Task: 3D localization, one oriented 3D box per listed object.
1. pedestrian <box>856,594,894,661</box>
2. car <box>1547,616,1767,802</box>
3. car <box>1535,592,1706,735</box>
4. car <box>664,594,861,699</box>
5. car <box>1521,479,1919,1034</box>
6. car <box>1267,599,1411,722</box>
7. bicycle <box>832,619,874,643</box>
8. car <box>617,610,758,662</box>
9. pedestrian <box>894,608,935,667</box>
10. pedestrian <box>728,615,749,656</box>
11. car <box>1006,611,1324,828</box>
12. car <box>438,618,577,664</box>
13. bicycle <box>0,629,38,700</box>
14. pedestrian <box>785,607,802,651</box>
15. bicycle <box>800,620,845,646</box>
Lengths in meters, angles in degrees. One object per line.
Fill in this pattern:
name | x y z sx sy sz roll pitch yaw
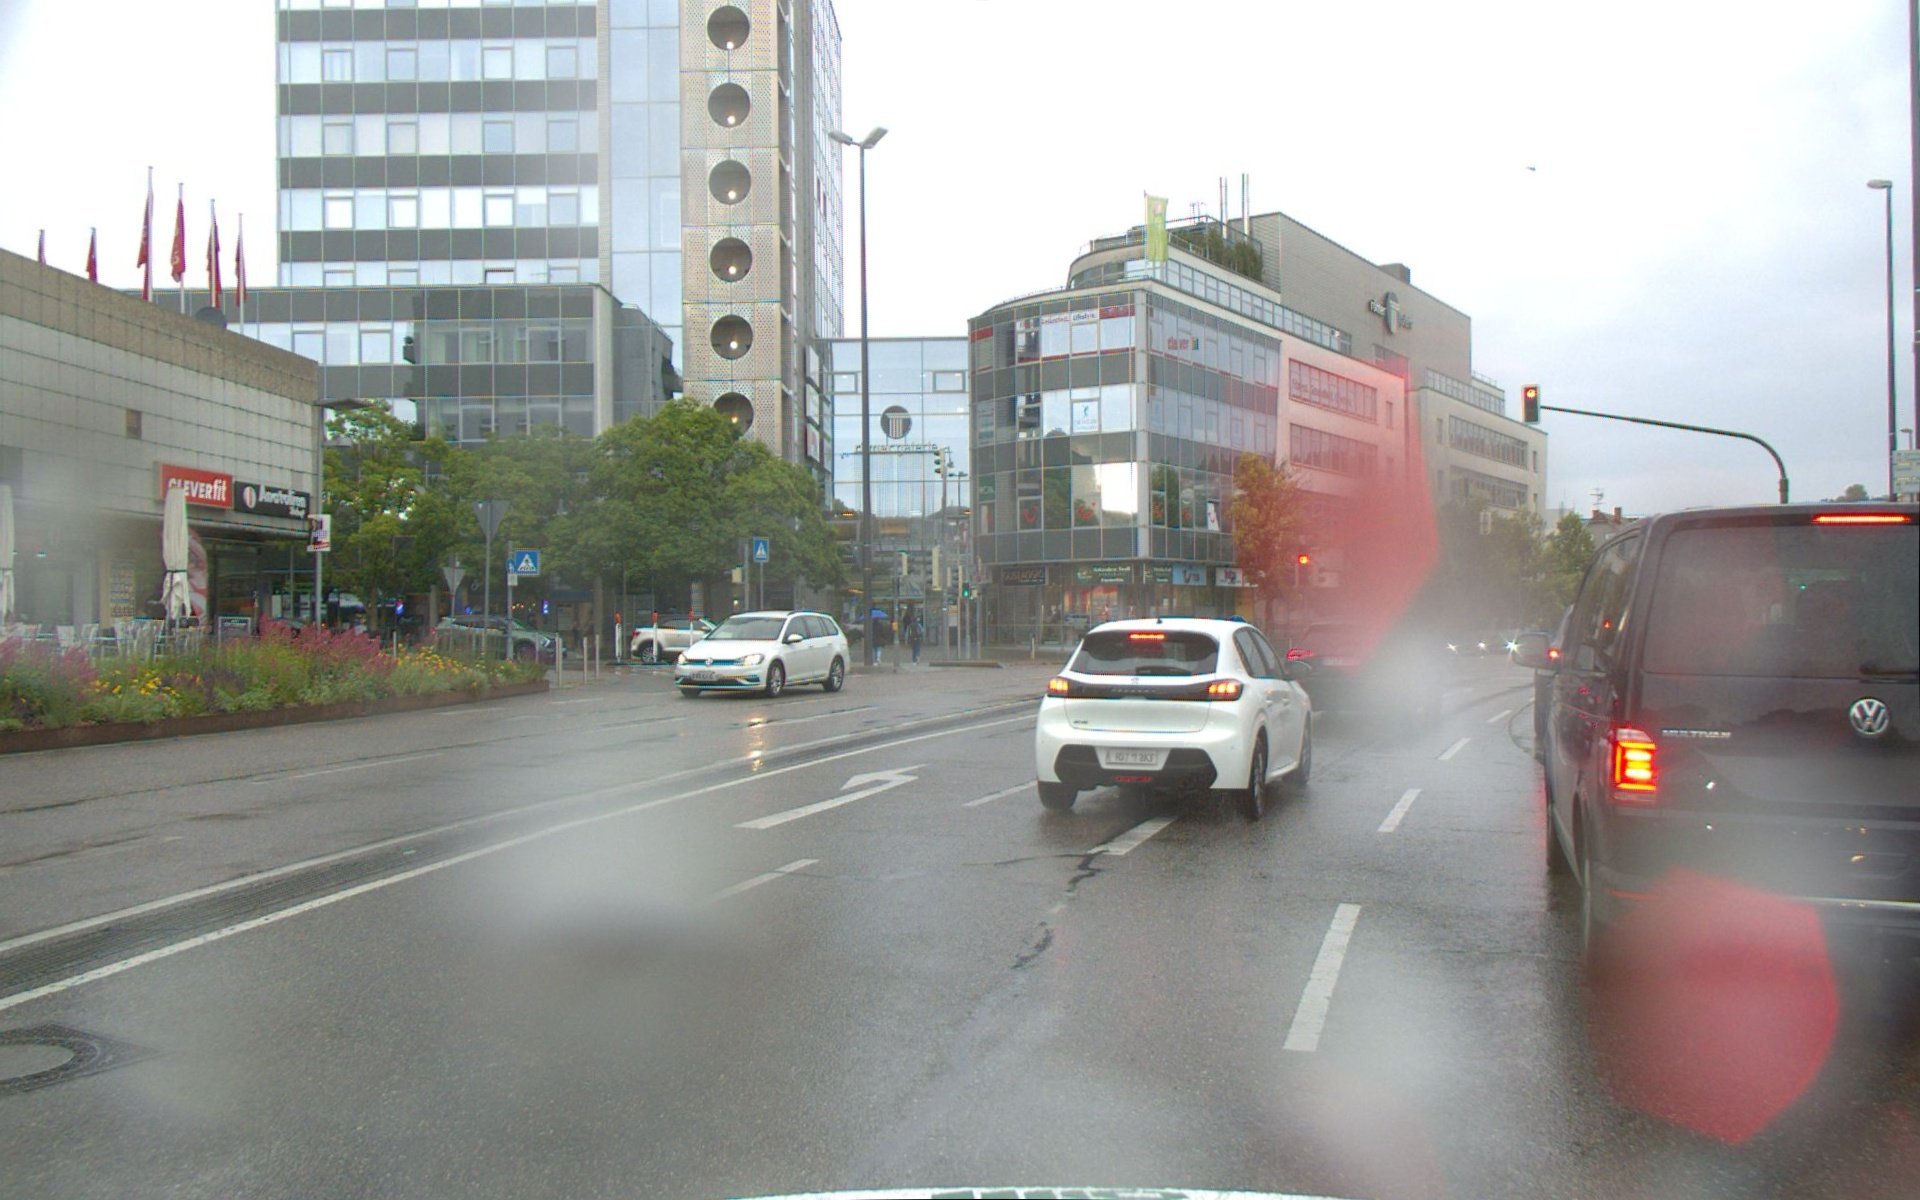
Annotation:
pedestrian | -2.624 0.848 51.079 1.139 2.049 1.327 0 -1 -5
car | 6.225 0.864 15.147 1.598 1.410 4.516 0 0 20
car | 8.567 0.743 21.423 1.863 1.649 4.334 0 0 23
car | -3.410 0.778 29.507 1.846 1.712 4.508 0 -1 16
car | 3.808 0.576 8.000 1.953 1.927 4.589 0 -1 17
car | 5.442 0.795 23.443 1.777 1.556 3.815 1 0 16
bicycle | -5.749 1.680 88.974 2.226 1.268 0.676 -1 -1 0
car | -8.713 1.131 53.010 4.103 1.623 1.871 0 0 6
pedestrian | -1.447 1.176 52.560 0.830 1.851 1.021 -2 -2 34
pedestrian | -10.338 1.651 77.039 0.741 1.901 0.827 0 -1 -25
car | 1.824 0.842 13.542 1.833 1.488 3.874 0 -1 19
car | -14.757 1.322 54.047 3.959 1.445 1.871 0 -1 9
bicycle | -18.008 1.154 29.808 2.491 1.244 0.697 0 -1 6
pedestrian | -7.839 1.379 77.987 0.747 2.049 0.714 0 -1 -2
bicycle | -6.969 1.690 84.009 2.226 1.268 0.676 -1 -1 0
